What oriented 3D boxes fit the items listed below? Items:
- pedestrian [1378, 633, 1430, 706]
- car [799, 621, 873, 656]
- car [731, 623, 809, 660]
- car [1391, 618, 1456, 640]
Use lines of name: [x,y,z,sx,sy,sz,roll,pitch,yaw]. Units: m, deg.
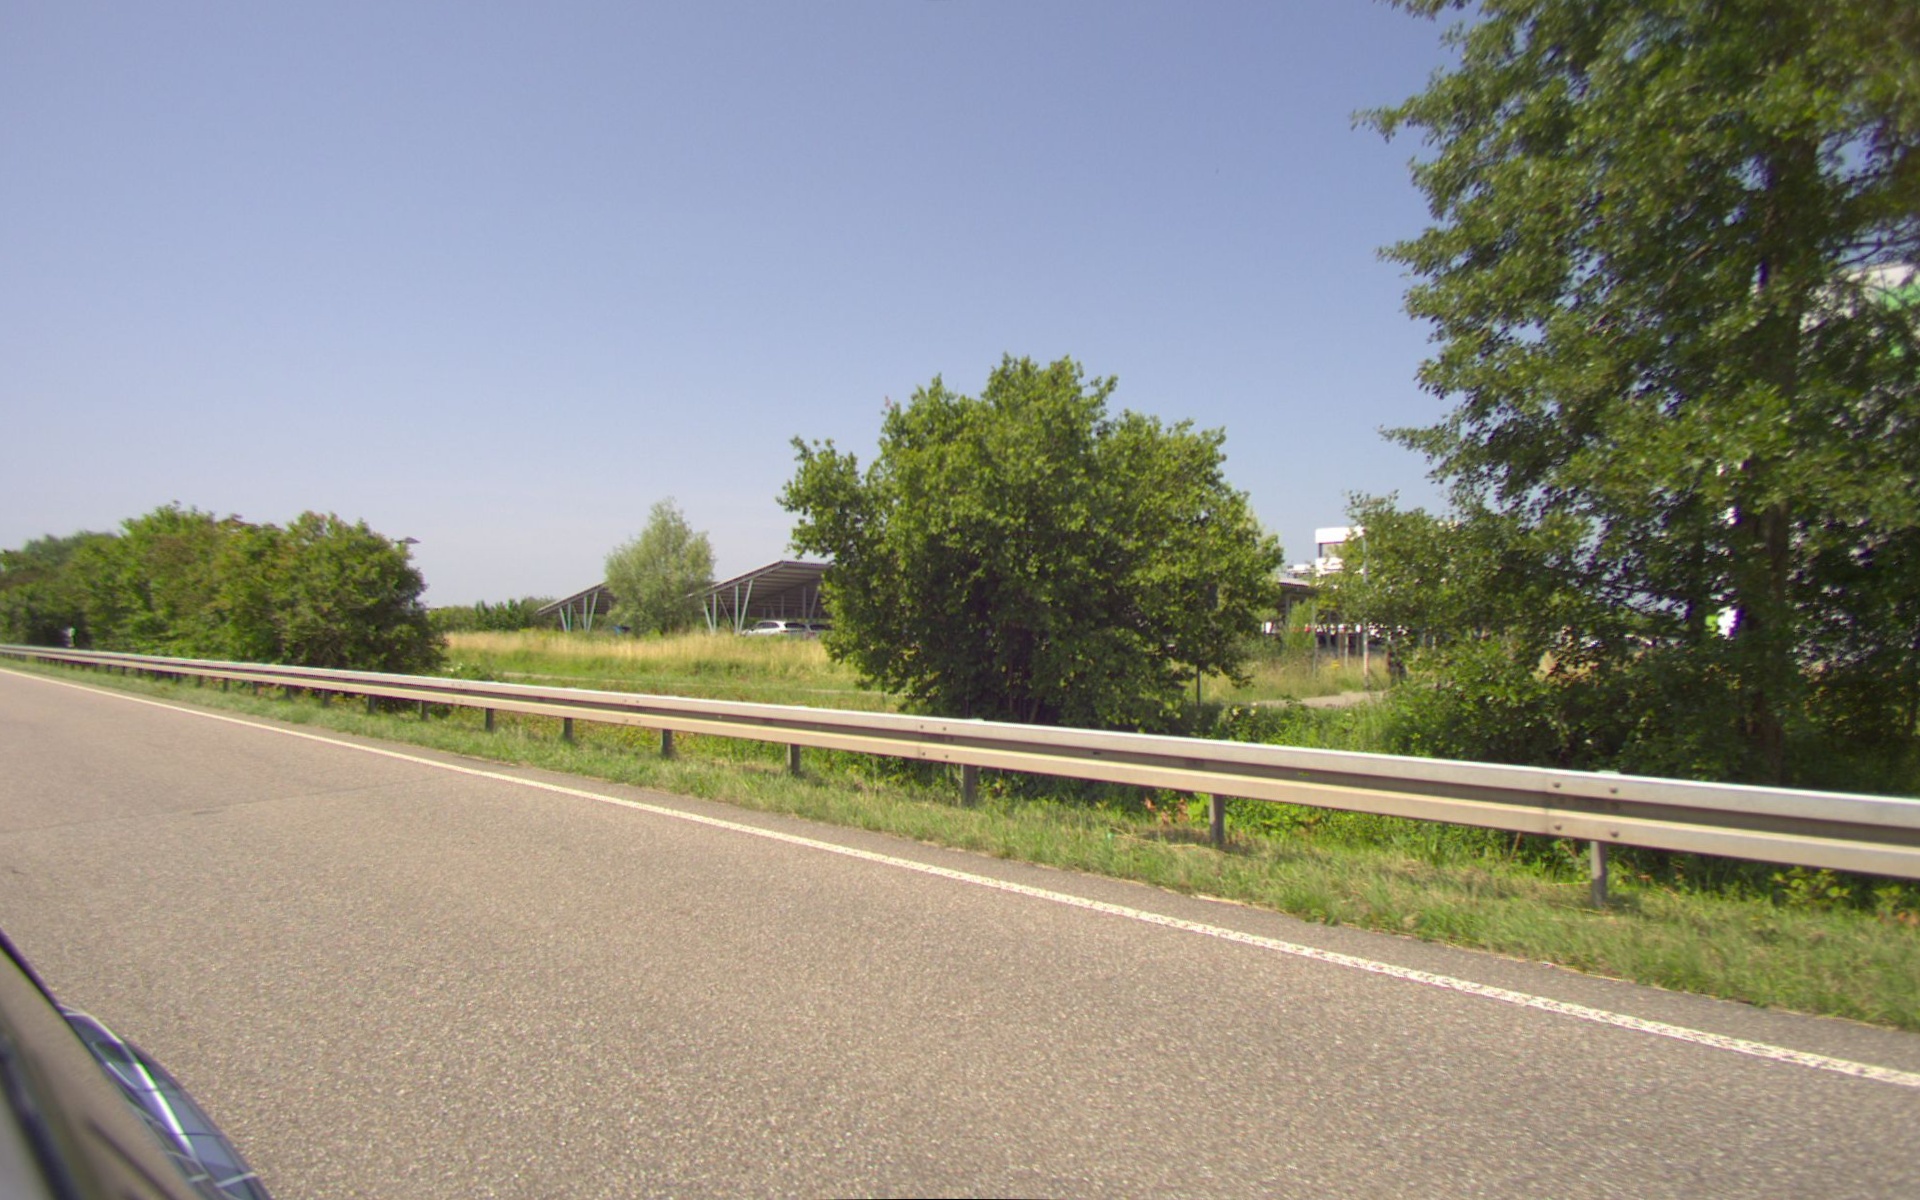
pedestrian: [11.028,1.697,25.168,0.707,1.762,0.940,0,-2,-17]
car: [-7.602,2.346,61.767,4.515,2.029,1.972,-2,-3,42]
car: [-10.812,2.325,57.379,4.515,2.029,1.972,-2,-3,42]
car: [34.497,2.176,75.357,3.998,1.589,1.973,-2,-1,41]
